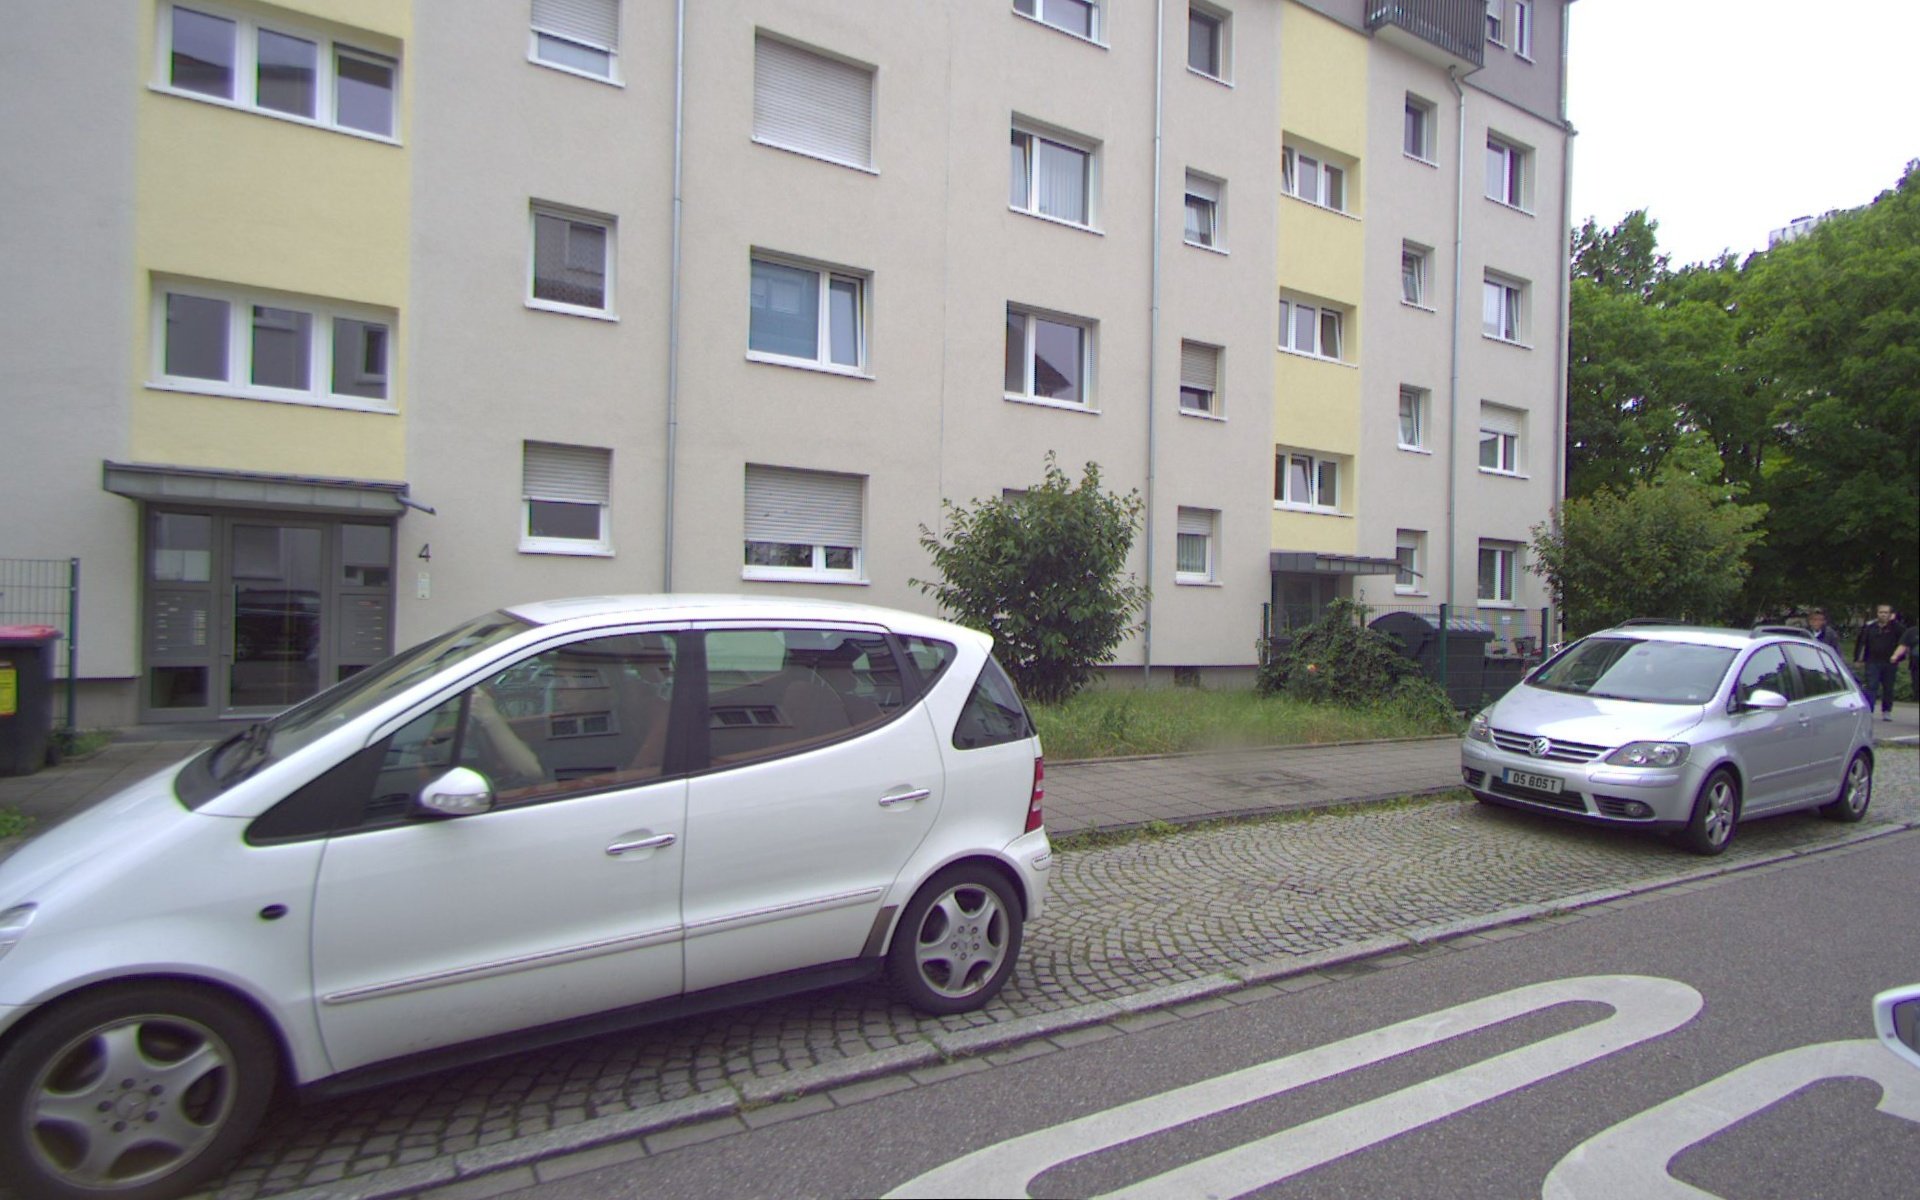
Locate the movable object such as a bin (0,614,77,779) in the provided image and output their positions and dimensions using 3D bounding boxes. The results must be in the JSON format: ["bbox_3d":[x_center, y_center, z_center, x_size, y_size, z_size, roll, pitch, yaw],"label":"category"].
[{"bbox_3d":[-6.935,0.680,7.337,0.604,1.132,0.782,1,0,-33],"label":"movable object such as a bin"}]

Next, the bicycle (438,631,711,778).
[{"bbox_3d":[-3.237,0.824,8.510,2.066,1.092,0.728,1,0,-31],"label":"bicycle"}]

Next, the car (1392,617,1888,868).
[{"bbox_3d":[5.747,0.993,8.421,3.955,1.561,1.983,2,0,-32],"label":"car"}]

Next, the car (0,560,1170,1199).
[{"bbox_3d":[-1.498,0.752,3.971,4.471,1.620,1.884,2,2,-33],"label":"car"}]

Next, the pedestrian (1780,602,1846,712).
[{"bbox_3d":[13.850,0.910,16.320,0.640,1.736,0.598,1,0,-28],"label":"pedestrian"}]

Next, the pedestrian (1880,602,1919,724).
[{"bbox_3d":[14.899,0.969,15.560,0.787,1.856,0.711,1,0,-28],"label":"pedestrian"}]

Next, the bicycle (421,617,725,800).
[{"bbox_3d":[-2.923,0.761,7.664,2.066,1.227,0.728,1,0,-31],"label":"bicycle"}]

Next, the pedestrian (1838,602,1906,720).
[{"bbox_3d":[14.752,0.963,16.257,0.667,1.856,0.602,1,0,-28],"label":"pedestrian"}]
